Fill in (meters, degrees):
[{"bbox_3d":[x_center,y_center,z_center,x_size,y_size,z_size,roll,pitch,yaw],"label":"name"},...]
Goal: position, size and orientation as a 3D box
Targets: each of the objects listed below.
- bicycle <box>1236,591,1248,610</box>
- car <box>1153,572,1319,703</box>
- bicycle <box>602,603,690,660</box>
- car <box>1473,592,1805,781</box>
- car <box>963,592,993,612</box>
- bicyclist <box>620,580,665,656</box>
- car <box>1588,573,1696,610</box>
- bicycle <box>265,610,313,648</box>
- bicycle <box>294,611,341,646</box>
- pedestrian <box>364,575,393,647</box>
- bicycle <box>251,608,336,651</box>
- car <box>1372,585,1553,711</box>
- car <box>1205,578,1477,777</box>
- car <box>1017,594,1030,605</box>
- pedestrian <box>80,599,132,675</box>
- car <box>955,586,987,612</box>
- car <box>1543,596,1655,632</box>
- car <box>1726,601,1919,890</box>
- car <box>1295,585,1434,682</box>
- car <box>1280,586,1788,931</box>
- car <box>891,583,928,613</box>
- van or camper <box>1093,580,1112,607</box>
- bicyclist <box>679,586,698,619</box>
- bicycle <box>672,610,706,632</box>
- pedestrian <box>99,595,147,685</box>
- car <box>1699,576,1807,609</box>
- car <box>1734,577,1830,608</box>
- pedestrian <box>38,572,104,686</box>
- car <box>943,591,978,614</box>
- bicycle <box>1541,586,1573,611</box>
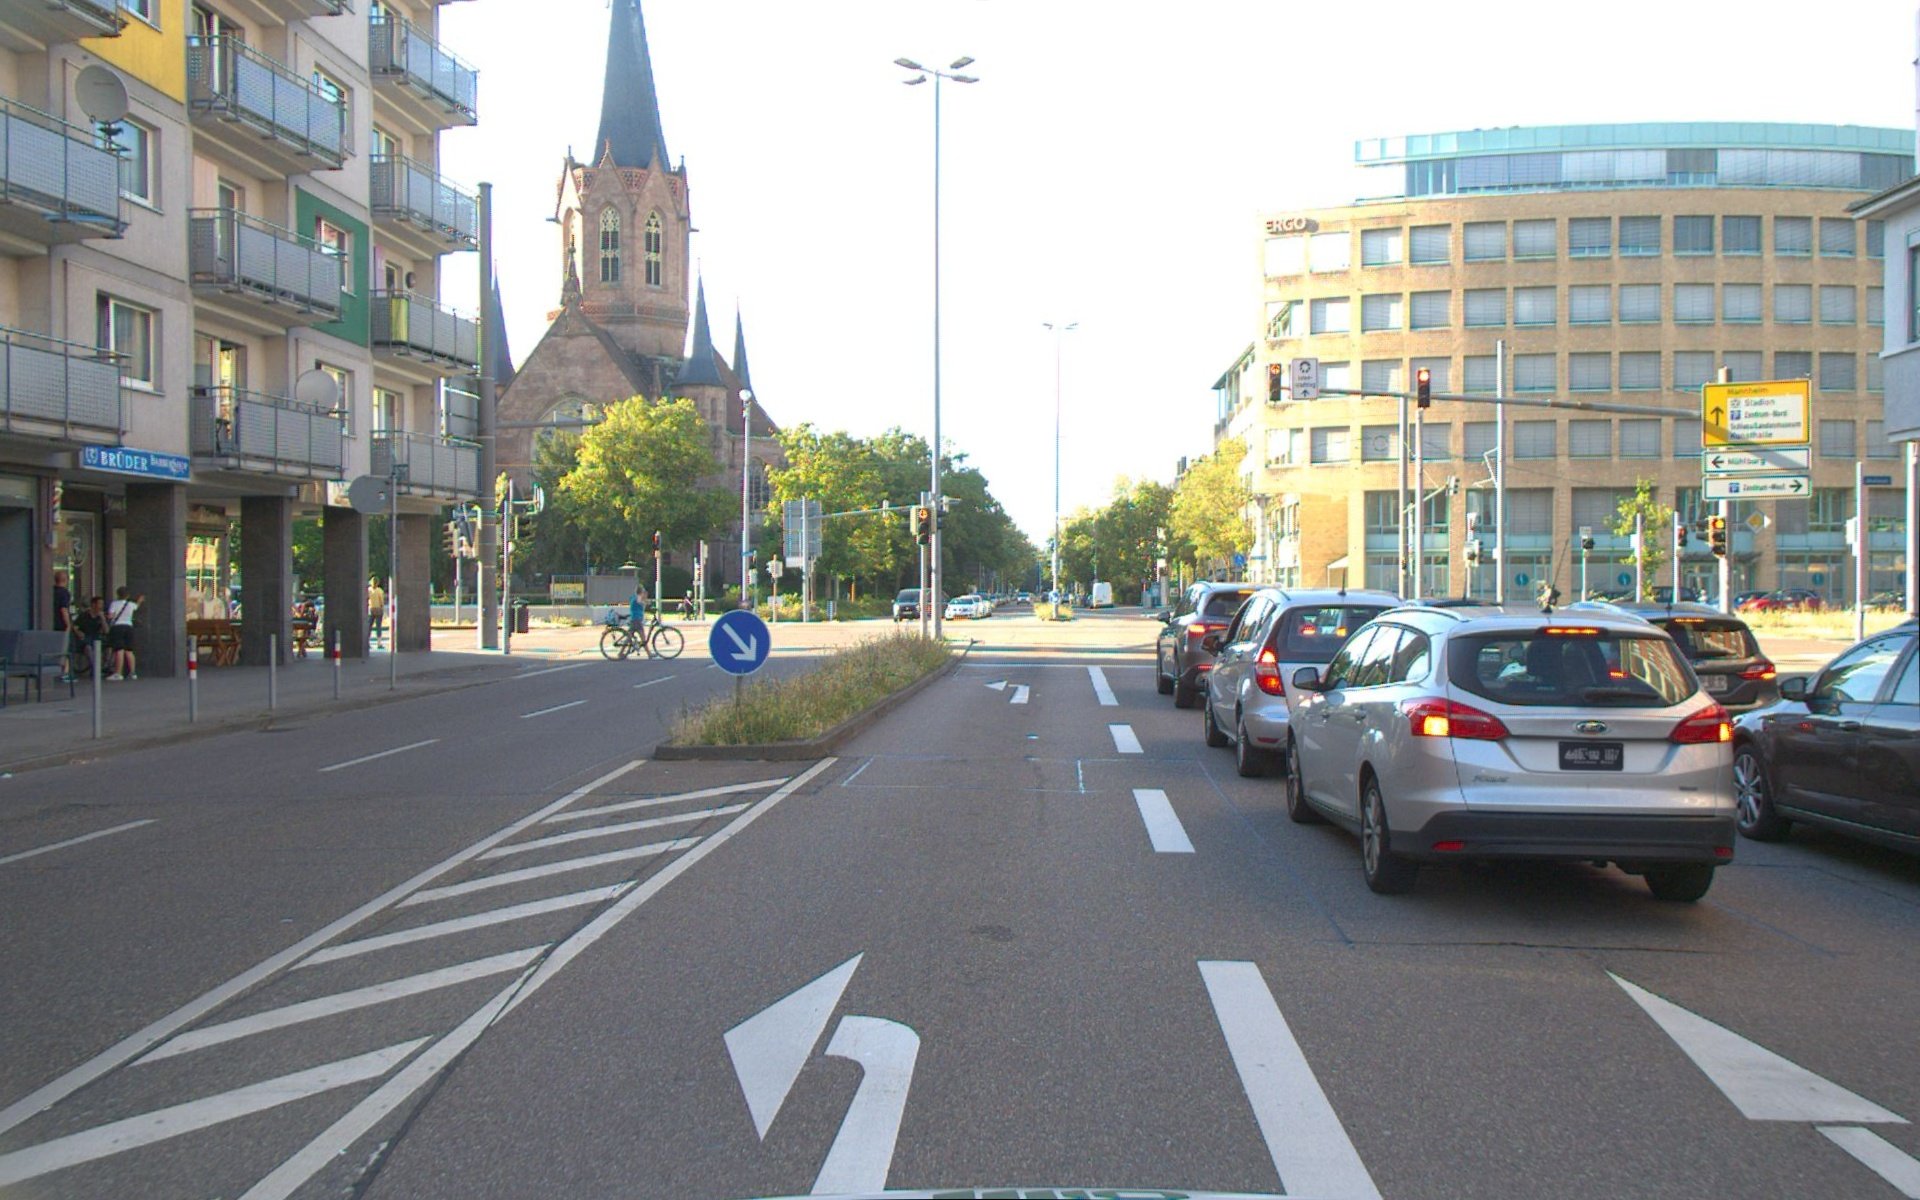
[{"bbox_3d":[18.921,0.007,111.016,0.757,1.216,2.467,0,1,11],"label":"bicycle"},{"bbox_3d":[3.790,0.453,23.374,1.747,1.661,4.480,0,1,2],"label":"car"},{"bbox_3d":[-6.929,0.687,36.539,1.789,1.209,0.734,0,0,2],"label":"bicycle"},{"bbox_3d":[6.306,0.706,15.883,1.616,1.510,4.241,1,1,3],"label":"car"},{"bbox_3d":[1.181,0.132,108.430,1.743,1.257,4.002,0,1,3],"label":"car"},{"bbox_3d":[-7.089,0.394,36.996,0.766,1.689,0.901,-1,0,3],"label":"bicyclist"},{"bbox_3d":[31.039,-0.411,75.336,4.139,1.642,2.001,0,1,4],"label":"car"},{"bbox_3d":[-17.520,0.745,43.212,0.486,0.922,1.704,0,1,2],"label":"bicycle"},{"bbox_3d":[-16.755,0.743,43.150,0.486,0.854,1.704,0,1,2],"label":"bicycle"},{"bbox_3d":[-14.686,0.267,41.790,0.540,1.800,0.470,0,0,4],"label":"pedestrian"},{"bbox_3d":[-19.550,0.860,48.572,2.000,1.188,1.162,-1,1,1],"label":"bicycle"},{"bbox_3d":[6.615,0.579,22.094,1.458,1.532,3.480,0,1,2],"label":"car"},{"bbox_3d":[3.344,0.603,15.170,1.766,1.596,3.619,-1,1,2],"label":"car"},{"bbox_3d":[8.705,-0.100,226.478,1.743,1.474,4.002,0,1,3],"label":"car"},{"bbox_3d":[-14.285,0.613,27.680,0.544,1.261,0.531,0,0,17],"label":"pedestrian"},{"bbox_3d":[0.668,-0.072,100.855,1.743,1.490,4.002,0,1,3],"label":"car"},{"bbox_3d":[30.329,0.659,78.568,4.551,1.626,2.000,0,1,0],"label":"car"},{"bbox_3d":[5.931,0.782,9.111,1.672,1.482,4.160,-1,1,3],"label":"car"},{"bbox_3d":[6.632,0.502,27.417,1.551,1.472,3.649,1,1,3],"label":"car"},{"bbox_3d":[3.042,0.703,9.731,1.672,1.536,4.311,1,1,3],"label":"car"},{"bbox_3d":[-2.884,-0.114,94.999,1.743,1.676,4.002,0,1,3],"label":"car"},{"bbox_3d":[14.885,-0.704,173.280,1.951,2.686,5.353,0,1,4],"label":"van or camper"},{"bbox_3d":[-14.268,0.151,87.076,0.763,1.724,0.641,0,0,19],"label":"bicyclist"},{"bbox_3d":[-14.269,1.096,87.087,1.639,1.159,0.647,0,1,20],"label":"bicycle"},{"bbox_3d":[-13.308,0.631,26.310,0.473,1.408,0.481,0,0,23],"label":"pedestrian"},{"bbox_3d":[37.501,-0.358,78.284,4.142,1.528,2.000,0,1,0],"label":"car"},{"bbox_3d":[37.239,-0.344,74.997,3.532,1.366,1.722,0,1,3],"label":"car"},{"bbox_3d":[-13.804,0.436,25.684,0.774,1.730,0.551,-1,1,-44],"label":"pedestrian"},{"bbox_3d":[0.053,0.128,94.302,1.743,1.257,4.002,0,1,3],"label":"car"},{"bbox_3d":[29.161,-0.070,80.805,1.488,1.193,0.475,0,0,19],"label":"bicycle"}]
